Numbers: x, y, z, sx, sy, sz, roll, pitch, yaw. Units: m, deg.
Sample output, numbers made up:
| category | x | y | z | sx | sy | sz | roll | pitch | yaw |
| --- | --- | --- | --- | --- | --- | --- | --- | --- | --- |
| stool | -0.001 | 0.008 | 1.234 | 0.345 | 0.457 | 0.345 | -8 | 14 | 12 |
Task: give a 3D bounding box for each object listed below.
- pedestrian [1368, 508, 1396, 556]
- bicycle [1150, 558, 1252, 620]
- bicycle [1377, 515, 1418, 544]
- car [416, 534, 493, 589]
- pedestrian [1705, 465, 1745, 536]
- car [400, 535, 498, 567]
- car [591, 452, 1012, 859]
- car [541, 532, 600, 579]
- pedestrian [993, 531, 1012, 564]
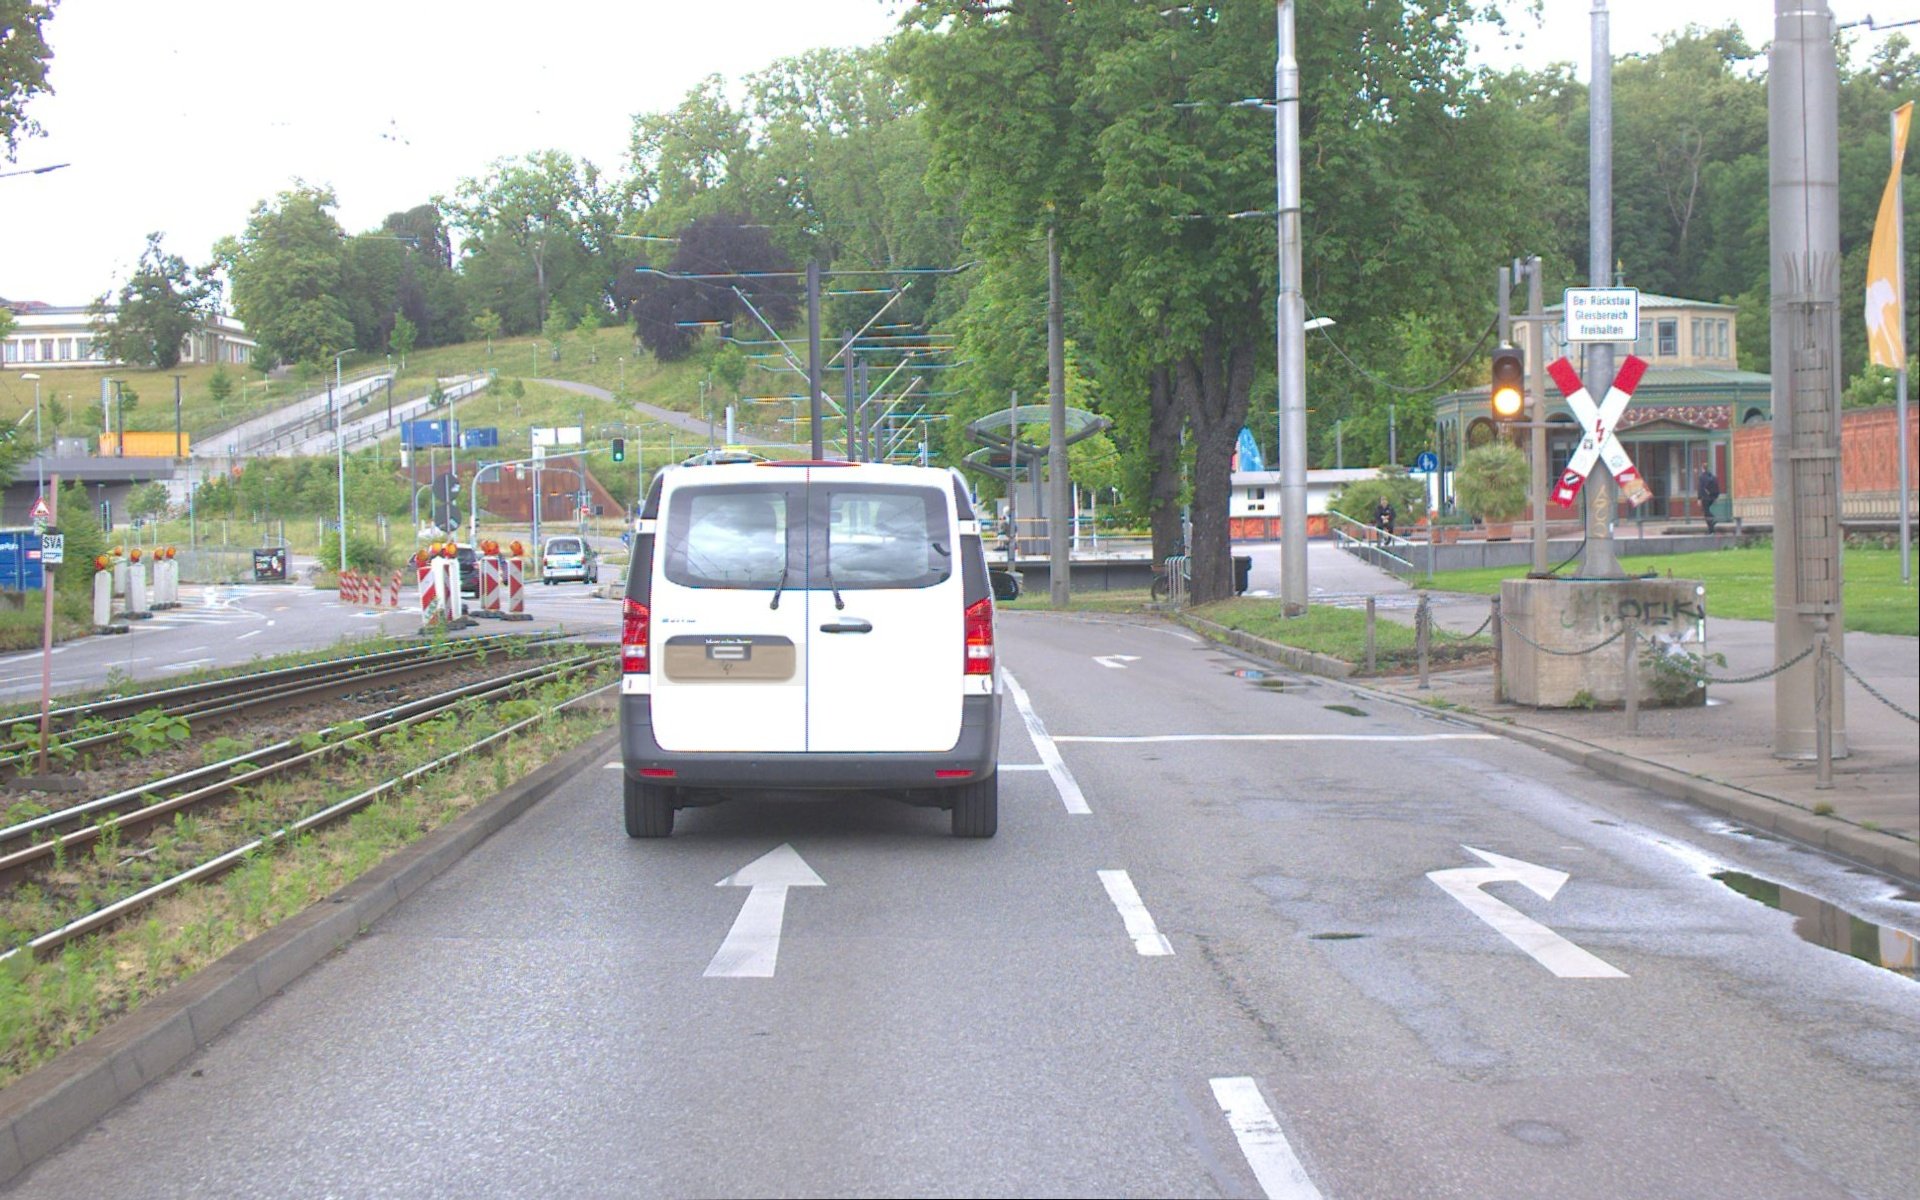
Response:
| category | x | y | z | sx | sy | sz | roll | pitch | yaw |
| --- | --- | --- | --- | --- | --- | --- | --- | --- | --- |
| pedestrian | 10.730 | -1.730 | 87.419 | 0.548 | 1.197 | 0.669 | 1 | 0 | -7 |
| bicycle | 4.774 | -0.220 | 68.081 | 1.991 | 1.154 | 0.741 | -1 | 1 | 5 |
| bicycle | 16.063 | -2.576 | 126.299 | 0.562 | 1.057 | 1.716 | 1 | 0 | -30 |
| car | -13.989 | -1.059 | 94.980 | 1.838 | 1.462 | 4.063 | 0 | 1 | -12 |
| pedestrian | 20.214 | -2.626 | 90.833 | 0.949 | 1.831 | 0.549 | 1 | 0 | 8 |
| car | -27.341 | -2.622 | 184.011 | 4.711 | 1.472 | 1.999 | -2 | 2 | 10 |
| car | -0.776 | 0.237 | 18.268 | 1.959 | 1.897 | 4.462 | 0 | 1 | -1 |
| car | -15.138 | -1.711 | 133.721 | 1.752 | 1.766 | 4.000 | 1 | 0 | 1 |
| pedestrian | 1.578 | -1.937 | 127.246 | 0.657 | 1.187 | 0.675 | 1 | 0 | 2 |
